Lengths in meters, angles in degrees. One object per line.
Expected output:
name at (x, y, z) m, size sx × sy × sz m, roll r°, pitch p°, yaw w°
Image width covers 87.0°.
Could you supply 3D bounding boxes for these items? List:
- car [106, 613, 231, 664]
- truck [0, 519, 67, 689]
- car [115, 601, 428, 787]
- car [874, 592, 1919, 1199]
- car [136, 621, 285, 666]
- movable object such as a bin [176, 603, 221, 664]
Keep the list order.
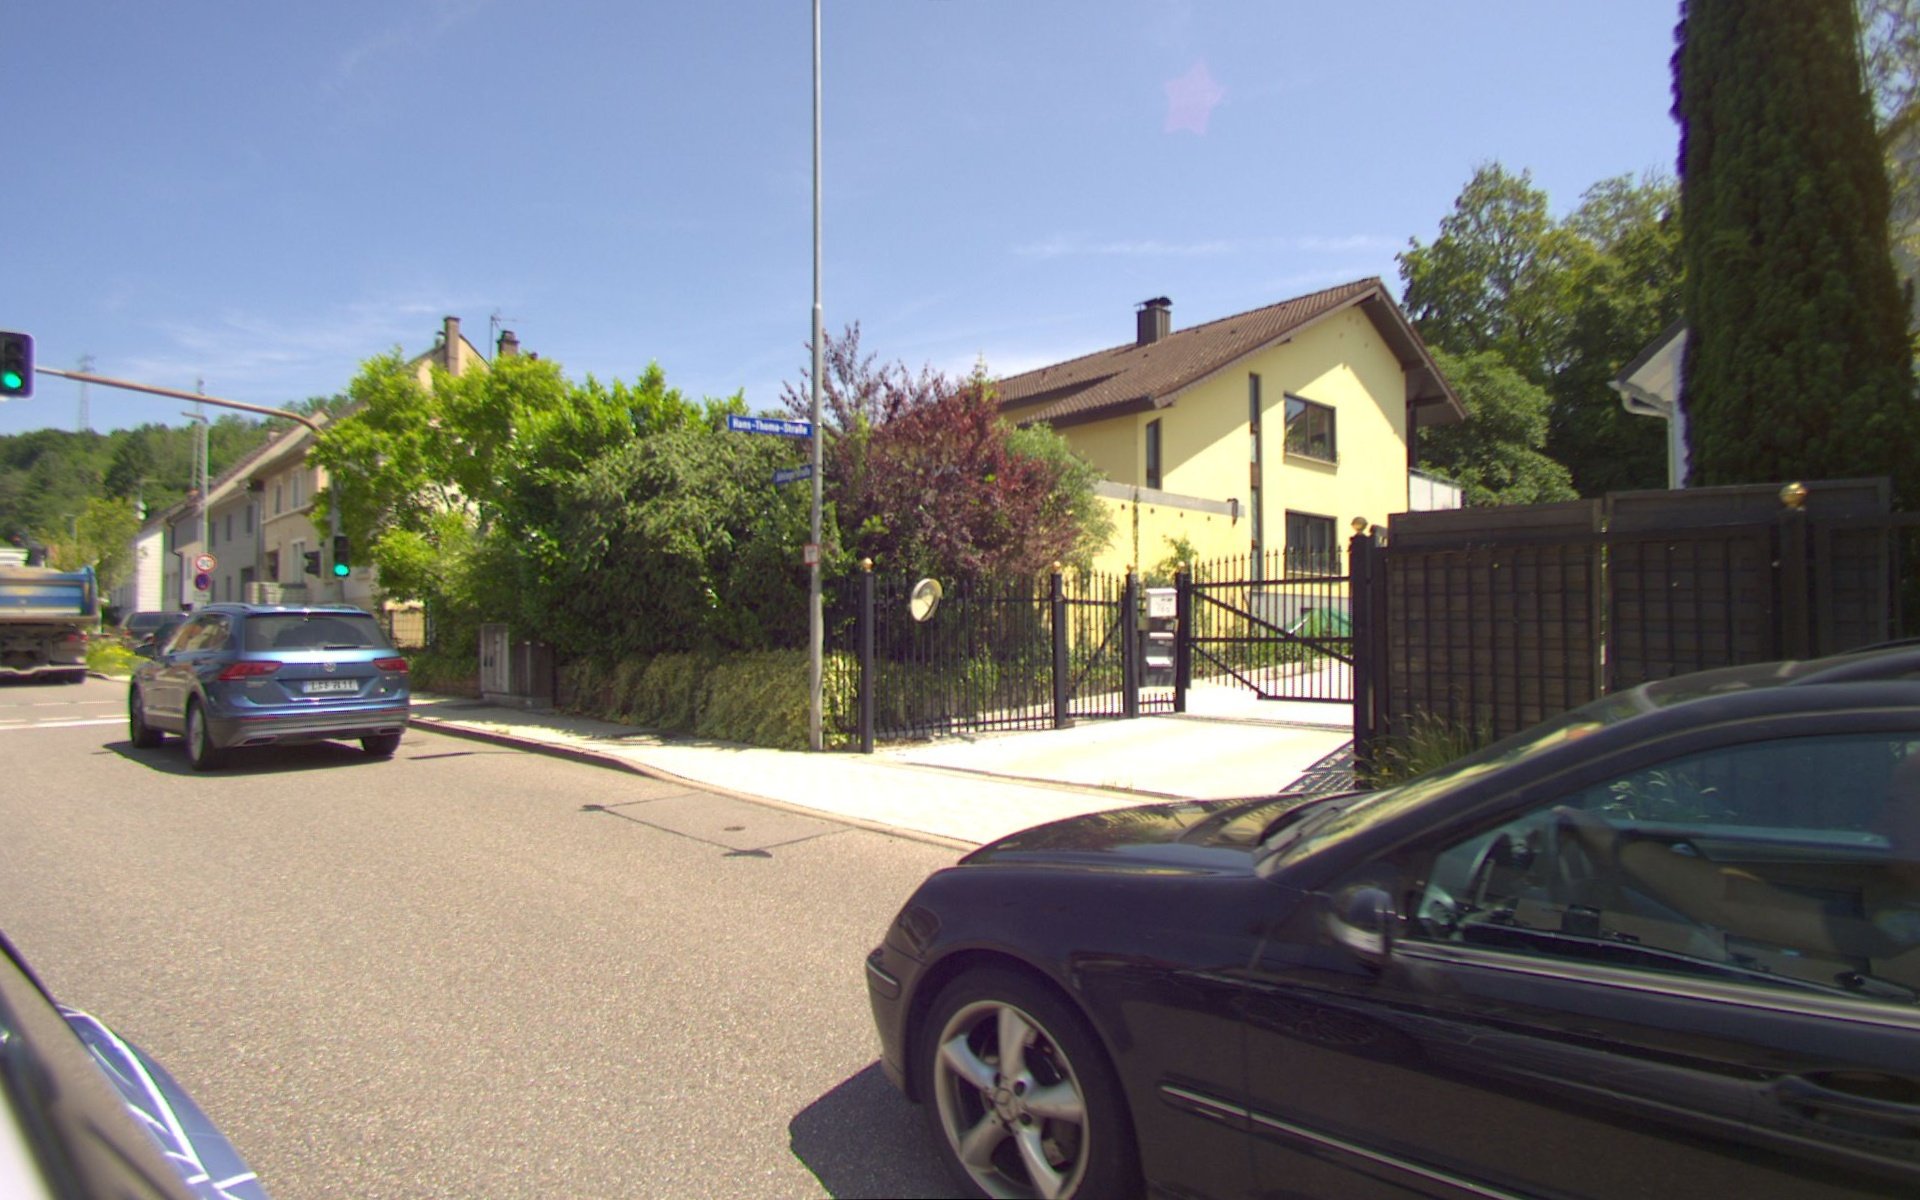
car at (-30.365, 1.437, 38.878) m, size 1.848 × 1.804 × 3.557 m, roll -1°, pitch 0°, yaw 43°
truck at (-24.417, 0.173, 25.393) m, size 2.512 × 3.767 × 8.627 m, roll 3°, pitch -3°, yaw -44°
car at (-7.802, 0.872, 11.276) m, size 4.613 × 1.658 × 1.868 m, roll -1°, pitch -1°, yaw 42°
car at (1.940, 0.689, 1.765) m, size 4.247 × 1.413 × 1.748 m, roll -2°, pitch -1°, yaw 42°
car at (-26.892, 1.545, 36.410) m, size 3.987 × 1.511 × 1.706 m, roll -1°, pitch 0°, yaw -7°
movable object such as a bin at (-26.158, 1.141, 34.750) m, size 1.323 × 2.029 × 1.047 m, roll -1°, pitch 0°, yaw 44°
